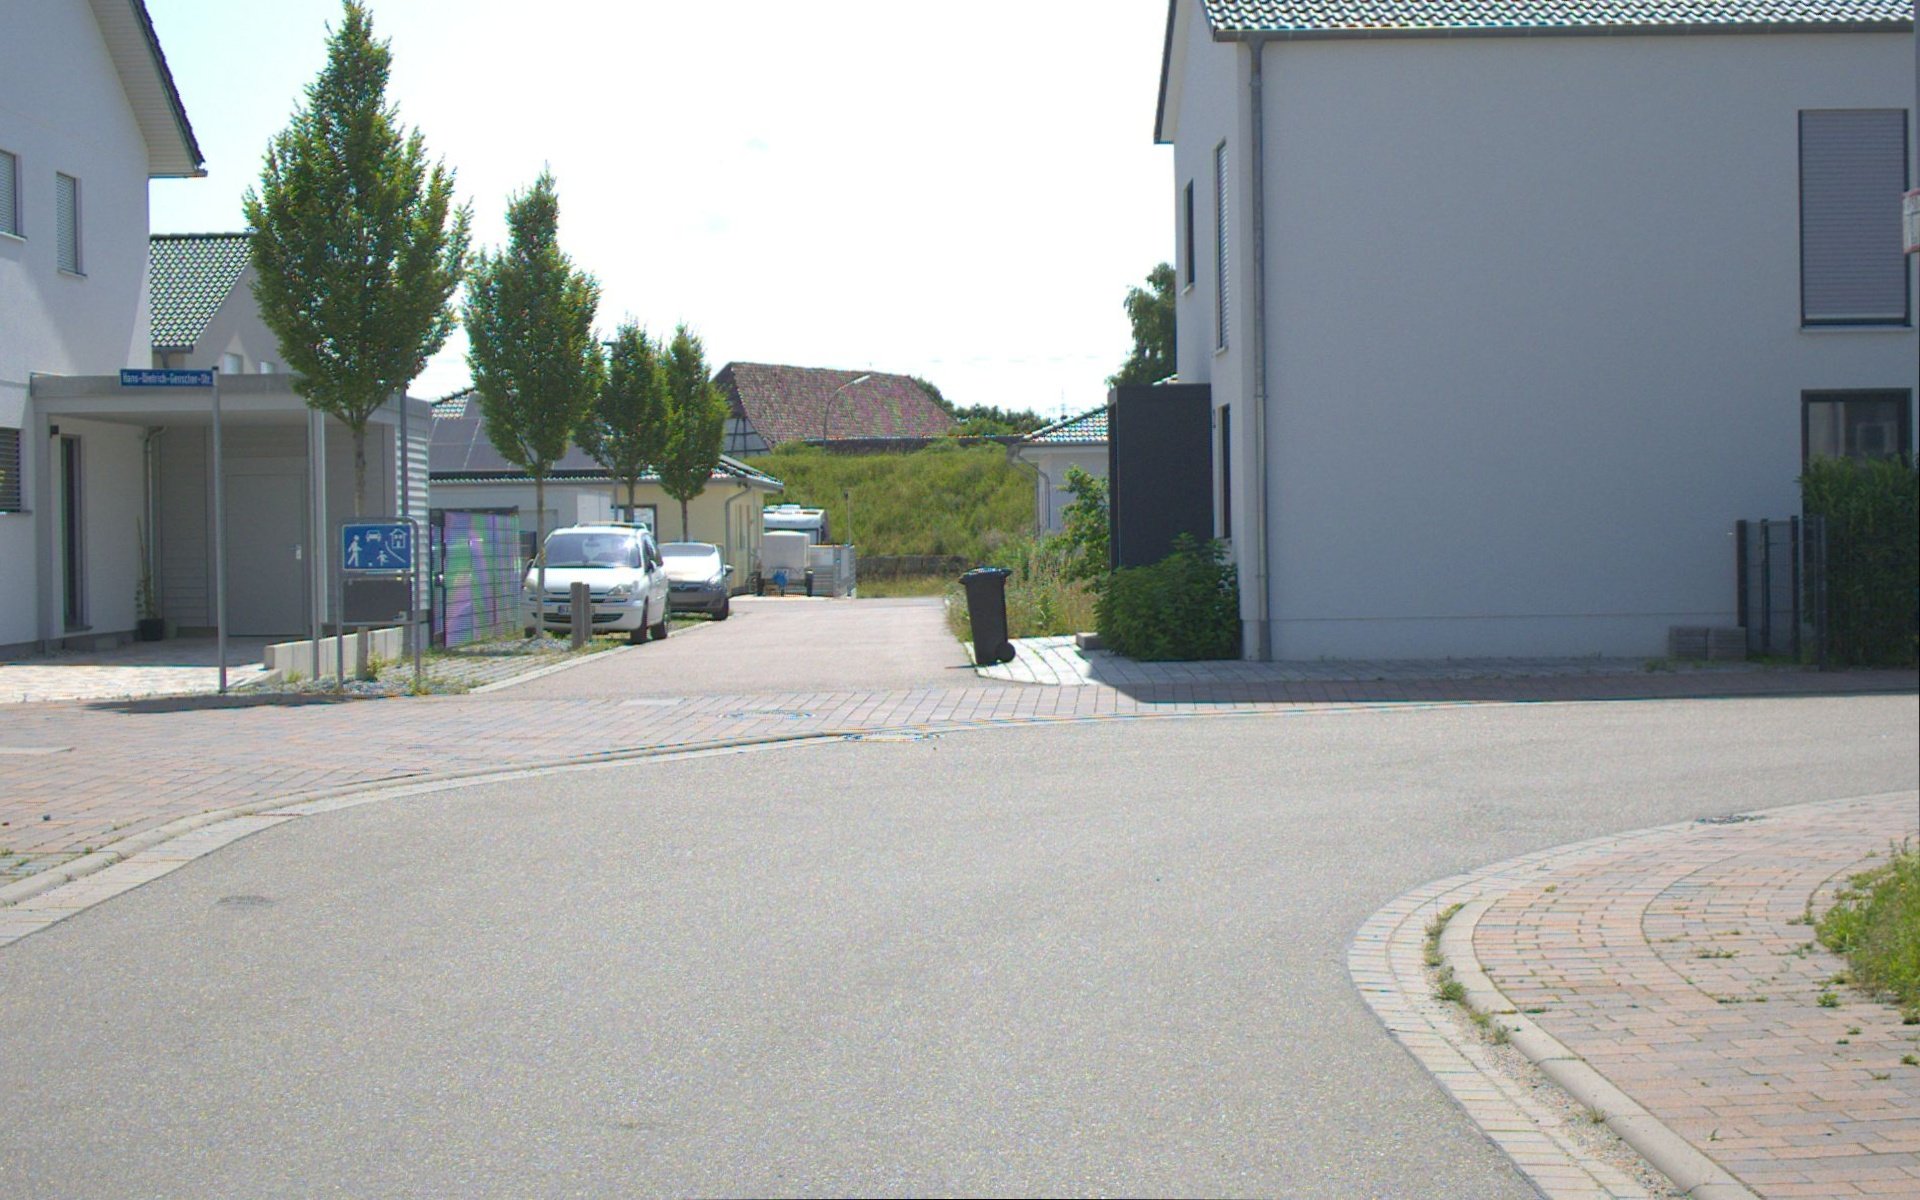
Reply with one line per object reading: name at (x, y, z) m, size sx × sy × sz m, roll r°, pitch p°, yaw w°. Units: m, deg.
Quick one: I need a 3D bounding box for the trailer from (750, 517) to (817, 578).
trailer at (-4.747, -1.407, 92.742) m, size 1.627 × 1.608 × 2.561 m, roll 1°, pitch 1°, yaw 1°

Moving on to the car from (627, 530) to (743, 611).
car at (-5.676, -0.614, 71.457) m, size 1.993 × 1.608 × 4.484 m, roll 1°, pitch 1°, yaw 1°

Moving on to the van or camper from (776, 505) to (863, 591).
van or camper at (-4.049, -1.499, 100.108) m, size 2.263 × 2.402 × 4.845 m, roll 1°, pitch 1°, yaw 1°

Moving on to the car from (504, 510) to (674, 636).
car at (-5.545, -0.409, 51.887) m, size 1.993 × 1.783 × 4.647 m, roll 1°, pitch 1°, yaw 1°

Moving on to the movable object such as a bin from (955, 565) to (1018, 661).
movable object such as a bin at (0.269, 0.129, 35.113) m, size 0.600 × 0.945 × 0.501 m, roll -2°, pitch 1°, yaw 0°
